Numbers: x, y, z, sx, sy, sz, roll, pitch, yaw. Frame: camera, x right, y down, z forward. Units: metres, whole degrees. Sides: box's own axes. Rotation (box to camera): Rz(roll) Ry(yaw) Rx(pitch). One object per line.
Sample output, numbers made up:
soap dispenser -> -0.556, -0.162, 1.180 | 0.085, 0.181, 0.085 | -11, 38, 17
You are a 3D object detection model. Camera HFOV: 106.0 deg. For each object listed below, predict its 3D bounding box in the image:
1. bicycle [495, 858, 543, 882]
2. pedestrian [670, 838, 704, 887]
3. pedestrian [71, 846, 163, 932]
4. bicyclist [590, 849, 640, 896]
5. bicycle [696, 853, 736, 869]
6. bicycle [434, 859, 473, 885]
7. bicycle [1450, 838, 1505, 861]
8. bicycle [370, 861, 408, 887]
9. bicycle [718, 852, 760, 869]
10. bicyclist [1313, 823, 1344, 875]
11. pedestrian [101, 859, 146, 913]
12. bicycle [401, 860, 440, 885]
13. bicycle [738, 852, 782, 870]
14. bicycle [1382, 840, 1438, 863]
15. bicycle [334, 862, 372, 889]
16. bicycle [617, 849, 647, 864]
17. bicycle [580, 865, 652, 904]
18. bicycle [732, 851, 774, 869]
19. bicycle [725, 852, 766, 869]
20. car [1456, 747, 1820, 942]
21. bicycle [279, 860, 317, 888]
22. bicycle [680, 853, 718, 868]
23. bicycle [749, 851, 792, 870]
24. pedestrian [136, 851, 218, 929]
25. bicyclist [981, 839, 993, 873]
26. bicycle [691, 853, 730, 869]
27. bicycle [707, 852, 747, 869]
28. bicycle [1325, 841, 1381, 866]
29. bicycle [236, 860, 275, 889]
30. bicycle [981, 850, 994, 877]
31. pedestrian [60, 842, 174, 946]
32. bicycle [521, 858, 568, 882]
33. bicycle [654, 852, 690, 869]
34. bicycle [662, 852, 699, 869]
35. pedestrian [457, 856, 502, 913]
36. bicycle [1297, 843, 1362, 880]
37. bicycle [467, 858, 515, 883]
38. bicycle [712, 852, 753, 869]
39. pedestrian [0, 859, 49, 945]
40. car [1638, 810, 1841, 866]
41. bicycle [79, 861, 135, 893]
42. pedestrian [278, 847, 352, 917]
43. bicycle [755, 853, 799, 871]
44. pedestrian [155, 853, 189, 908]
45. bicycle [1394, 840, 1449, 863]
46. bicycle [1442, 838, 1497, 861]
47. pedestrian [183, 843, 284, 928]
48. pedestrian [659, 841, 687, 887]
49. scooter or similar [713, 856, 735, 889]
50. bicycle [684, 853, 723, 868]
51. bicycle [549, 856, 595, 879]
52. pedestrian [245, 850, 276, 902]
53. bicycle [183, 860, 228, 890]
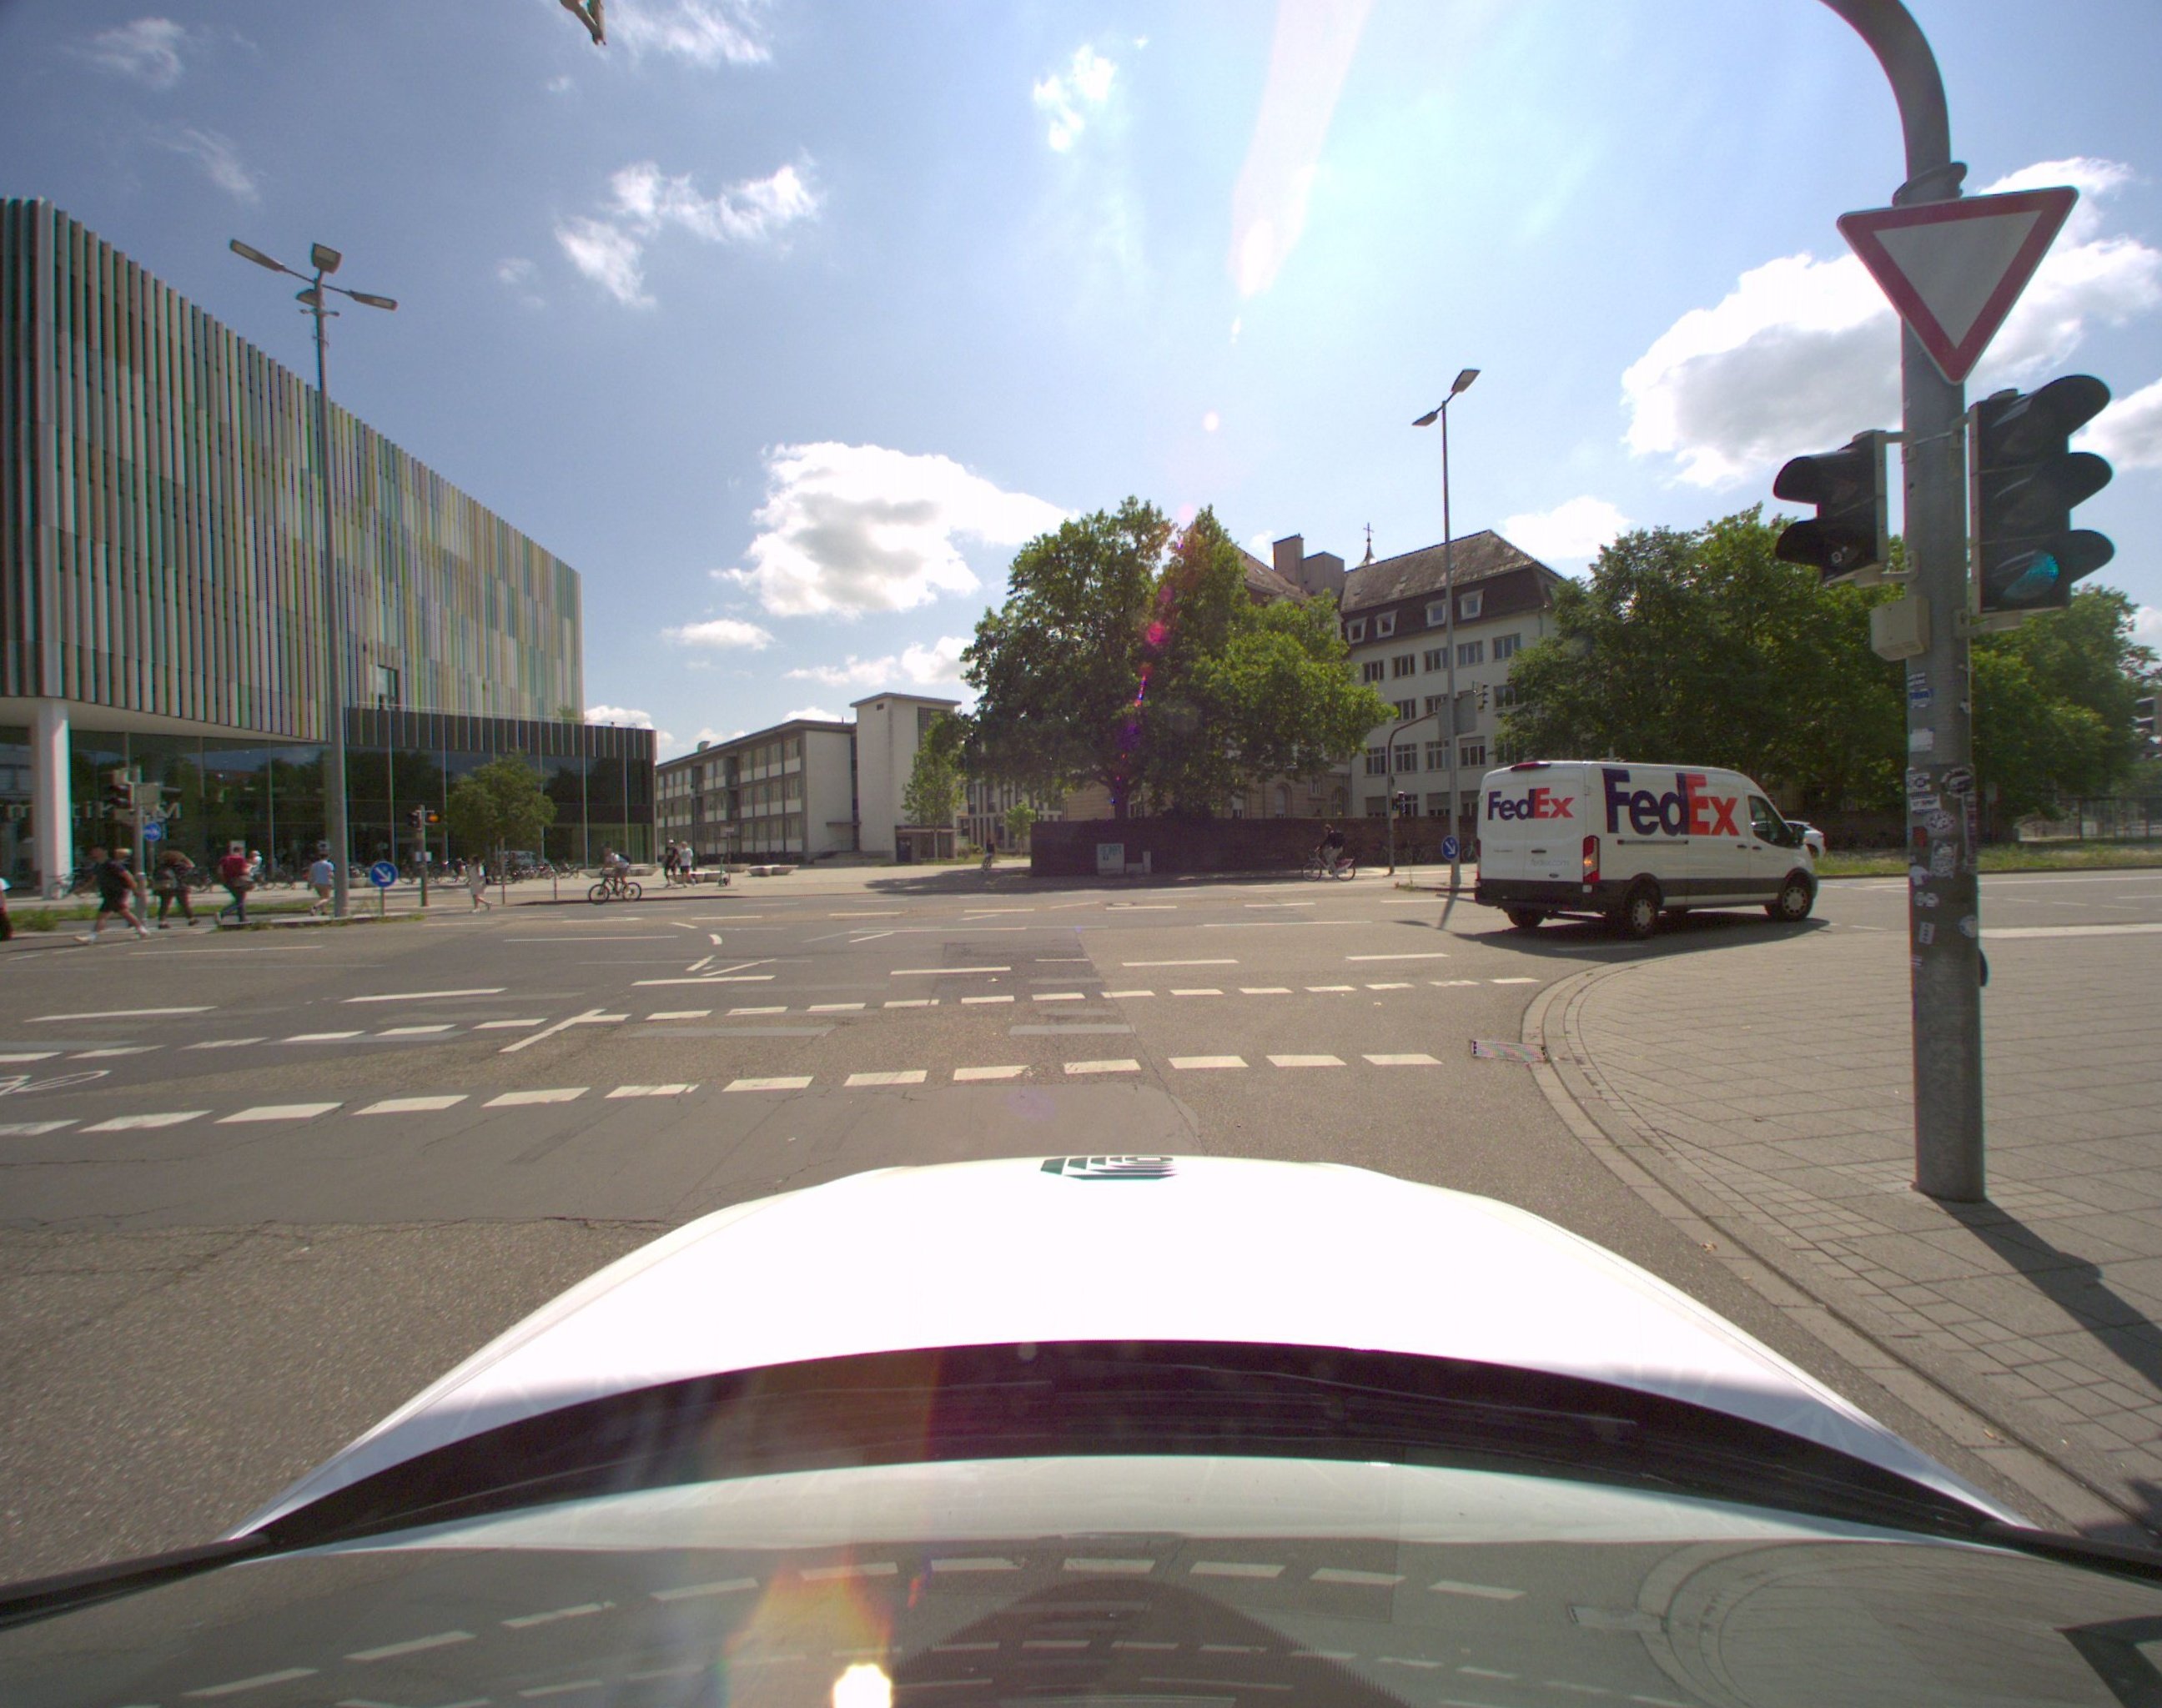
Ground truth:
bicycle -> -30.287, 0.876, 43.866 | 2.913, 1.237, 1.208 | -1, 0, 36
pedestrian -> -15.509, 0.336, 32.063 | 0.901, 1.889, 0.873 | -1, 0, 37
pedestrian -> -21.807, 0.764, 18.444 | 0.847, 1.876, 1.010 | -2, 1, 12
bicyclist -> -15.202, 0.580, 26.581 | 0.843, 1.468, 1.072 | -2, 1, 14
bicycle -> -31.988, 0.587, 71.420 | 1.103, 1.363, 2.983 | -1, 0, 44
bicycle -> -32.383, 0.917, 42.009 | 2.914, 1.237, 1.208 | -1, 0, 44
bicycle -> 18.771, -0.219, 38.553 | 2.383, 0.994, 0.722 | -2, 1, -12
bicycle -> -34.218, 0.979, 40.241 | 1.208, 1.237, 2.914 | -1, 0, -45
bicycle -> -28.531, 0.516, 67.950 | 1.103, 1.363, 2.983 | -1, 0, 44
bicyclist -> 8.208, -0.171, 27.028 | 0.882, 1.672, 0.686 | -2, 0, 9
pedestrian -> -46.485, 1.554, 39.557 | 0.972, 2.565, 1.012 | -1, 0, -9
bicycle -> -33.343, 0.918, 41.099 | 1.208, 1.237, 2.914 | -1, 0, -45
bicycle -> -25.639, 0.519, 65.138 | 1.260, 1.363, 2.983 | -1, 0, 44
bicycle -> 15.238, -0.109, 37.683 | 2.383, 0.994, 0.751 | -2, 1, -12
bicycle -> -35.137, 0.996, 39.306 | 1.208, 1.237, 2.914 | -1, 0, -45
bicycle -> -50.317, 0.275, 91.363 | 1.106, 1.574, 2.980 | -1, 0, 19
bicycle -> -15.181, 0.969, 26.633 | 0.841, 1.145, 2.003 | -1, 1, 15
bicycle -> -26.549, 0.498, 66.020 | 1.103, 1.363, 2.983 | -1, 0, 44
bicycle -> -27.600, 0.503, 67.030 | 1.103, 1.363, 2.983 | -1, 0, 44
car -> 8.791, -0.209, 12.787 | 5.609, 2.566, 2.086 | -2, 1, -24
bicycle -> -36.252, 0.913, 37.691 | 1.208, 1.237, 2.914 | -1, 0, -45
bicycle -> -35.333, 0.607, 75.444 | 1.103, 1.363, 2.983 | -1, 0, 44
bicycle -> -24.425, 0.506, 64.053 | 1.103, 1.363, 2.983 | -1, 0, 44
pedestrian -> -19.963, 0.786, 17.994 | 0.820, 1.654, 0.865 | -2, 1, 12
bicyclist -> -4.145, 0.094, 35.917 | 0.514, 1.452, 0.785 | -1, 0, -7
bicycle -> -33.087, 0.598, 72.745 | 1.103, 1.363, 2.983 | -1, 0, 44
bicycle -> -30.306, 0.569, 69.769 | 1.103, 1.363, 2.983 | -1, 0, 44
bicycle -> 12.383, -0.036, 37.068 | 2.383, 1.058, 0.751 | -2, 1, -12
bicycle -> -37.072, 0.884, 36.604 | 1.208, 1.237, 2.914 | -1, 0, -45
bicycle -> -4.137, 0.390, 35.993 | 0.549, 1.131, 2.169 | -1, 0, -7
pedestrian -> -18.087, 0.724, 15.305 | 0.823, 1.870, 1.089 | -2, 1, 15
bicycle -> -29.469, 0.864, 44.723 | 2.913, 1.237, 1.208 | -1, 0, 36
bicycle -> -40.350, 0.638, 80.369 | 1.103, 1.574, 2.983 | -1, 0, 44
bicycle -> -38.549, 0.655, 78.435 | 1.103, 1.574, 2.983 | -1, 0, 44
pedestrian -> -16.500, 0.819, 22.364 | 0.829, 1.523, 0.808 | -2, 0, -28
bicycle -> 8.244, 0.244, 27.034 | 1.970, 1.185, 0.684 | -2, 1, 9
bicycle -> -31.044, 0.860, 42.825 | 2.913, 1.237, 1.208 | -1, 0, 36
bicycle -> -29.441, 0.555, 68.871 | 1.103, 1.363, 2.983 | -1, 0, 44
pedestrian -> -20.729, 0.913, 15.618 | 0.770, 1.597, 0.797 | -2, 1, -7
car -> 21.851, -0.537, 27.149 | 5.276, 1.641, 1.998 | -2, 1, -3
bicycle -> -39.985, 0.920, 33.476 | 2.914, 1.237, 1.208 | -1, 0, 45
pedestrian -> -20.573, 0.740, 21.898 | 0.855, 1.818, 1.100 | -2, 1, 15
bicycle -> -23.535, 0.602, 63.082 | 1.103, 1.363, 2.983 | -1, 0, 44
pedestrian -> -43.180, 1.246, 38.700 | 0.981, 2.565, 1.002 | -1, 0, -45
bicycle -> 15.827, -0.133, 37.819 | 2.383, 0.994, 0.694 | -2, 1, -12
bicycle -> 18.337, -0.220, 38.436 | 2.383, 0.994, 0.751 | -2, 1, -12
pedestrian -> -18.847, 0.684, 18.148 | 0.800, 1.807, 1.271 | -2, 1, 13
pedestrian -> -16.277, 0.407, 32.514 | 0.805, 1.815, 0.675 | -1, 0, 37
scooter or similar -> -14.007, 0.704, 31.909 | 0.720, 1.178, 2.703 | -2, 1, -25
bicycle -> -34.472, 0.597, 74.388 | 1.103, 1.363, 2.983 | -1, 0, 44
bicycle -> -28.580, 0.753, 45.704 | 2.913, 1.237, 1.208 | -1, 0, 36
pedestrian -> -41.285, 1.070, 40.955 | 1.001, 2.565, 0.982 | -1, 0, 39
bicycle -> -38.016, 0.902, 35.387 | 1.208, 1.237, 2.914 | -1, 0, -45
